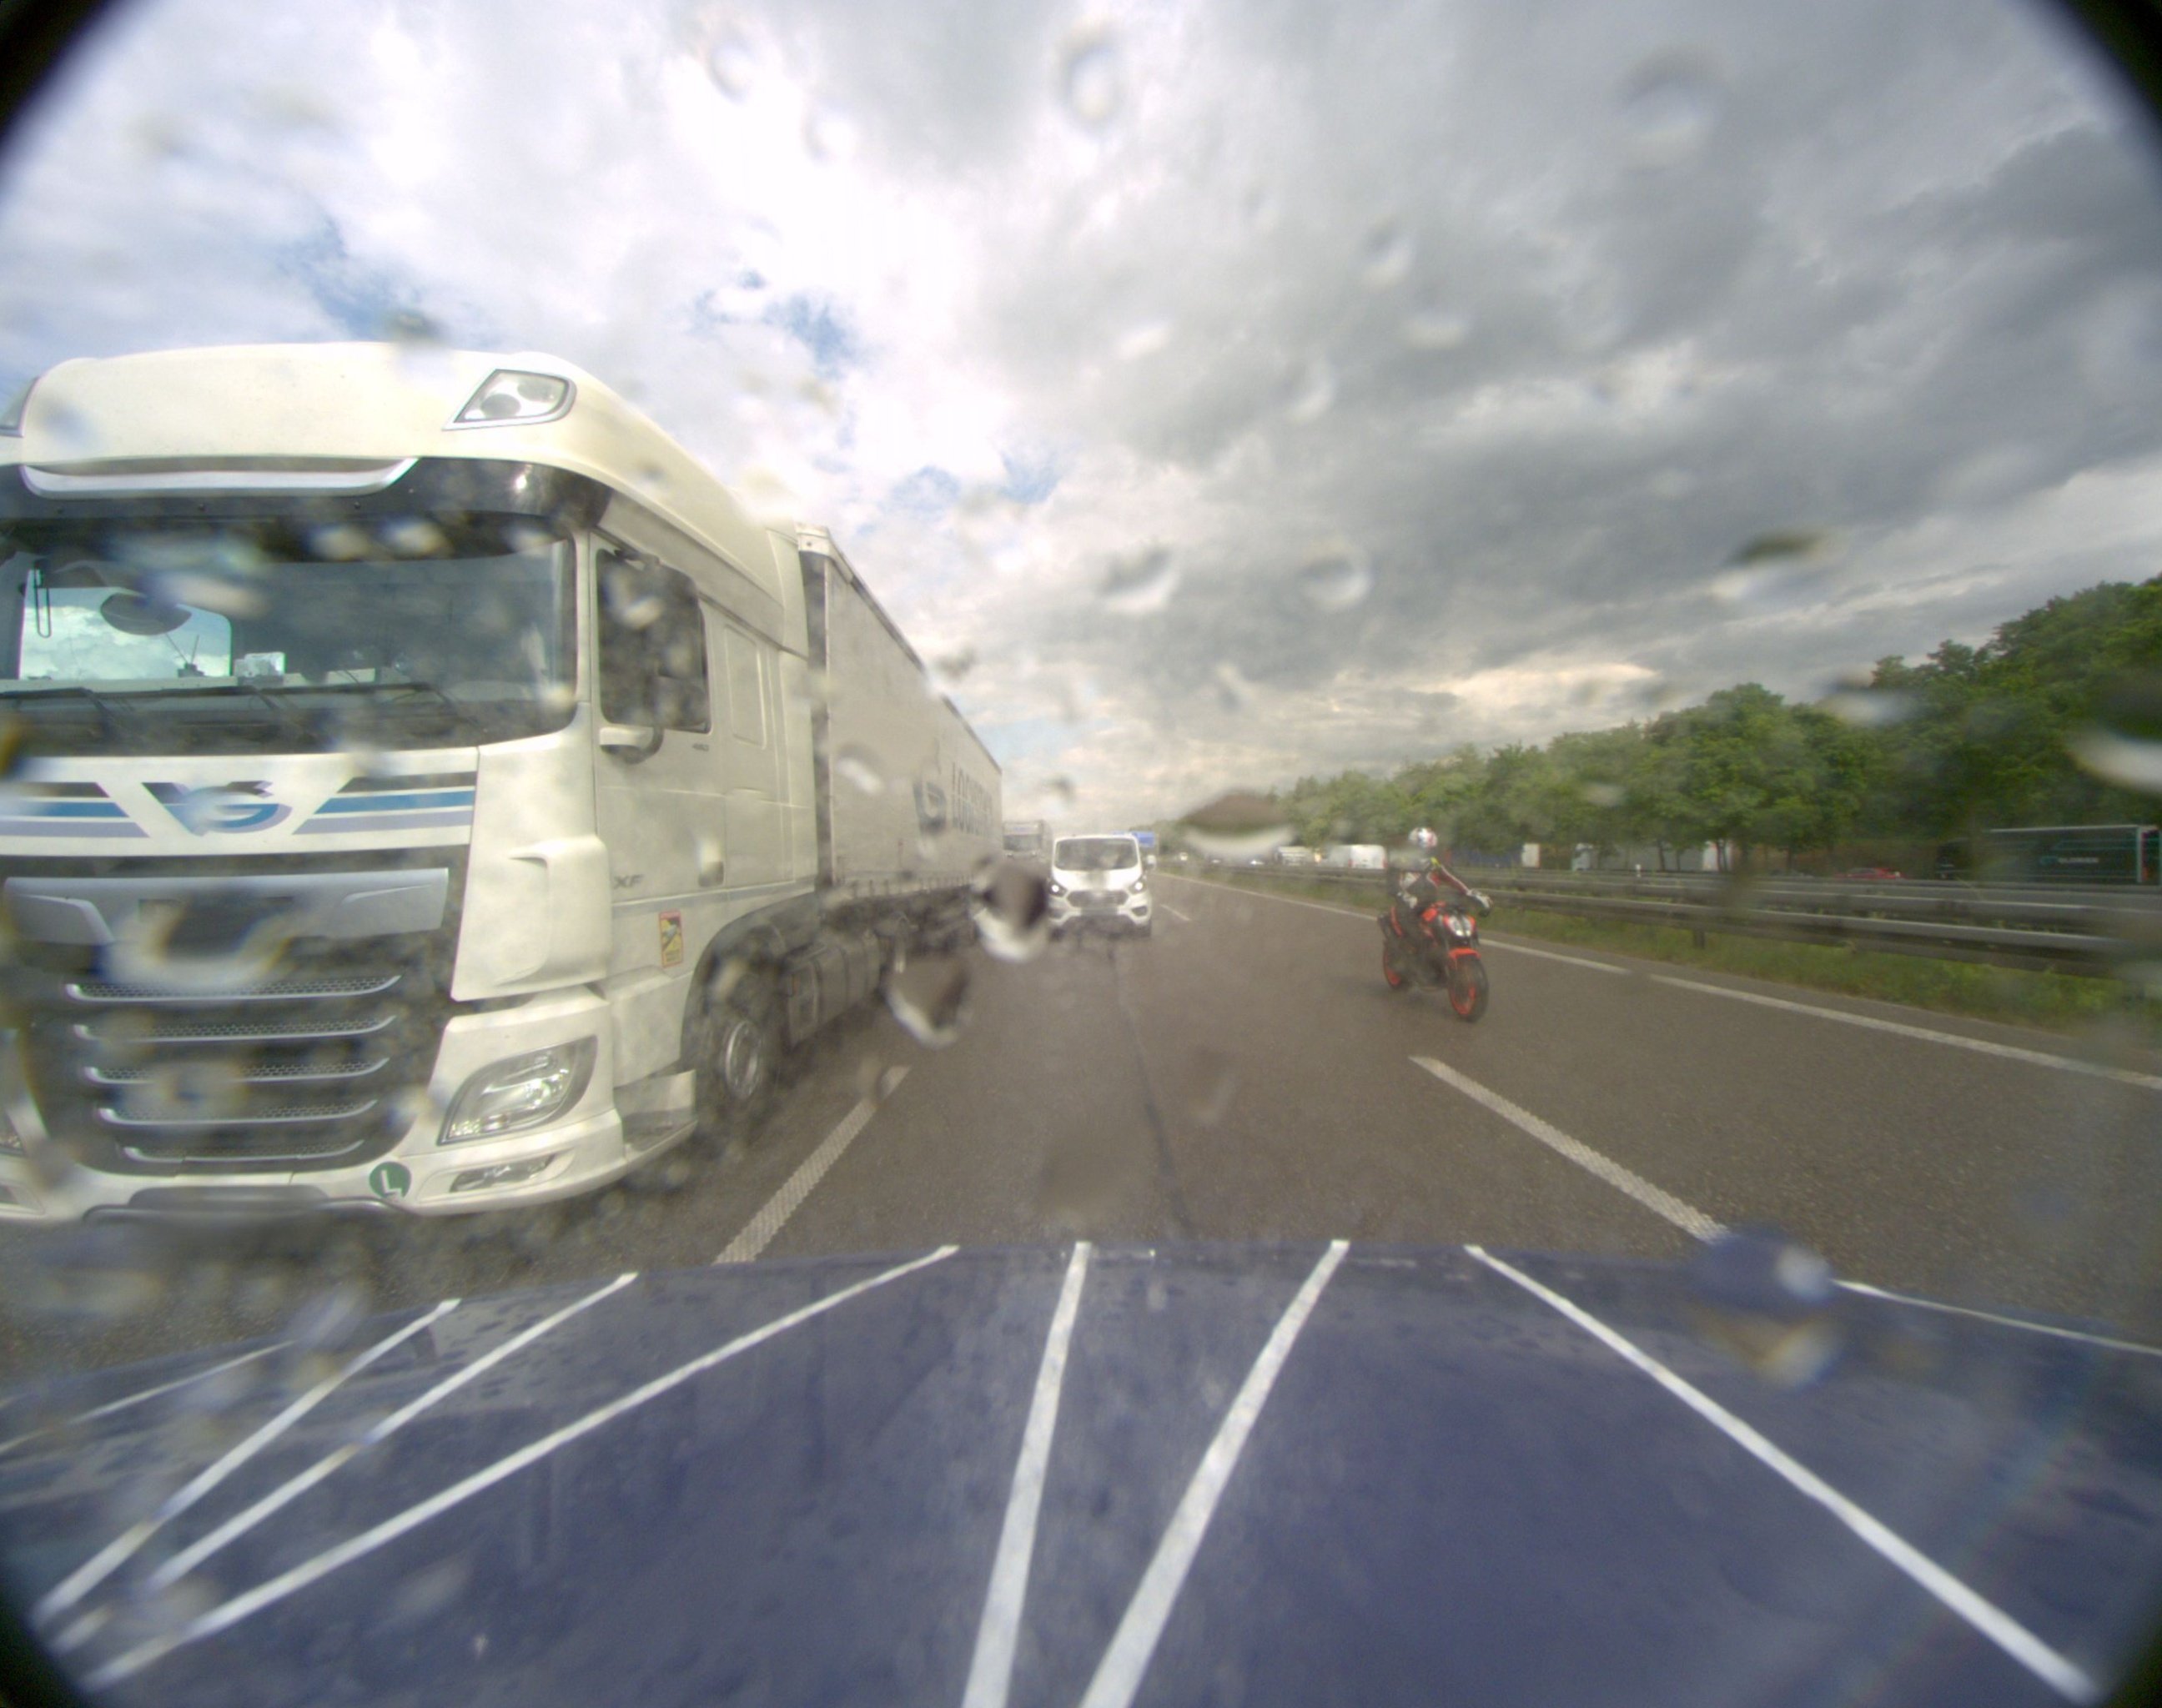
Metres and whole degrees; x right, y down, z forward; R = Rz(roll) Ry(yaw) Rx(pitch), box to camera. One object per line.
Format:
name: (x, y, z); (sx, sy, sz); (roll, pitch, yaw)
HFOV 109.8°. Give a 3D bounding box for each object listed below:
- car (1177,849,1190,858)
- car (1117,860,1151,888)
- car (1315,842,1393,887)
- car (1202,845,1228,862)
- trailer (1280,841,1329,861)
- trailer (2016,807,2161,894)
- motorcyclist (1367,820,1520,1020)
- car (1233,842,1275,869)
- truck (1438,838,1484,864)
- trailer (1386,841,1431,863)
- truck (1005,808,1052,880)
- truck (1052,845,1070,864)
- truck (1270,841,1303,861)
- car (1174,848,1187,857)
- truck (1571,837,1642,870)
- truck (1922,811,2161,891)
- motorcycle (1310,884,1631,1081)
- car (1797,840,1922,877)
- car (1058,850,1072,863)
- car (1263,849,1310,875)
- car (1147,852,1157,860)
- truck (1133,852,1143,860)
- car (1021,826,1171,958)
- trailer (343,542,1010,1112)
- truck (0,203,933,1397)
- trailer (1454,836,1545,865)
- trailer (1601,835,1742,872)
car: (21.122, -0.140, 156.726); (2.051, 1.880, 5.259); (-2, 1, 0)
car: (4.281, 1.589, 61.994); (2.350, 2.033, 5.142); (-2, 1, 0)
car: (13.720, 0.483, 38.561); (2.056, 2.034, 5.208); (-2, 1, 0)
car: (15.029, -0.073, 85.575); (1.958, 1.880, 5.057); (-2, 1, 0)
trailer: (43.202, -0.568, 147.491); (3.216, 3.717, 12.554); (-1, 0, -14)
trailer: (56.913, -0.197, 37.893); (3.798, 4.380, 13.801); (-1, 0, 1)
motorcyclist: (3.322, 0.569, 7.061); (0.883, 1.696, 1.000); (-2, 1, -2)
car: (13.648, 0.101, 60.250); (2.179, 2.034, 4.651); (-2, 1, 0)
truck: (52.196, -0.398, 104.547); (2.869, 3.436, 5.893); (-2, 1, -7)
trailer: (50.194, -0.283, 116.712); (2.588, 3.214, 7.734); (-1, 0, -10)
truck: (-3.335, -0.658, 49.259); (2.650, 4.249, 6.882); (-2, 1, -3)
truck: (-3.879, -0.021, 152.578); (3.218, 3.607, 10.152); (-2, 1, 0)
truck: (41.573, -0.583, 153.868); (3.219, 3.683, 6.907); (-2, 1, -14)
car: (21.384, -0.368, 163.026); (2.051, 1.880, 5.259); (-2, 1, 0)
truck: (55.282, -0.114, 80.104); (3.362, 3.254, 5.505); (-2, 1, -4)
truck: (56.987, -0.200, 45.588); (3.797, 4.209, 8.416); (-2, 1, 1)
motorcycle: (3.303, 0.989, 7.082); (1.188, 1.219, 3.193); (-2, 1, -3)
car: (56.623, 0.288, 55.534); (2.800, 2.468, 6.210); (-2, 1, 1)
car: (-2.790, 0.459, 132.246); (2.350, 2.033, 5.142); (-2, 1, 0)
car: (17.337, 0.595, 64.595); (2.179, 2.034, 6.499); (-2, 1, 0)
car: (18.846, 0.545, 200.671); (2.051, 1.880, 5.259); (-2, 1, 0)
truck: (19.730, 0.650, 263.628); (2.849, 2.666, 7.191); (-2, 1, 1)
car: (0.237, 0.588, 14.786); (2.350, 2.033, 5.142); (-2, 1, 0)
trailer: (-3.483, -0.197, 12.404); (3.292, 3.876, 14.126); (-2, 0, -1)
truck: (-3.430, -0.145, 5.698); (3.293, 3.868, 6.395); (-2, 0, -1)
trailer: (53.091, -0.406, 97.075); (2.832, 3.385, 13.417); (-1, 0, -7)
trailer: (55.597, -0.047, 72.253); (3.356, 3.197, 12.471); (-1, 0, -2)
